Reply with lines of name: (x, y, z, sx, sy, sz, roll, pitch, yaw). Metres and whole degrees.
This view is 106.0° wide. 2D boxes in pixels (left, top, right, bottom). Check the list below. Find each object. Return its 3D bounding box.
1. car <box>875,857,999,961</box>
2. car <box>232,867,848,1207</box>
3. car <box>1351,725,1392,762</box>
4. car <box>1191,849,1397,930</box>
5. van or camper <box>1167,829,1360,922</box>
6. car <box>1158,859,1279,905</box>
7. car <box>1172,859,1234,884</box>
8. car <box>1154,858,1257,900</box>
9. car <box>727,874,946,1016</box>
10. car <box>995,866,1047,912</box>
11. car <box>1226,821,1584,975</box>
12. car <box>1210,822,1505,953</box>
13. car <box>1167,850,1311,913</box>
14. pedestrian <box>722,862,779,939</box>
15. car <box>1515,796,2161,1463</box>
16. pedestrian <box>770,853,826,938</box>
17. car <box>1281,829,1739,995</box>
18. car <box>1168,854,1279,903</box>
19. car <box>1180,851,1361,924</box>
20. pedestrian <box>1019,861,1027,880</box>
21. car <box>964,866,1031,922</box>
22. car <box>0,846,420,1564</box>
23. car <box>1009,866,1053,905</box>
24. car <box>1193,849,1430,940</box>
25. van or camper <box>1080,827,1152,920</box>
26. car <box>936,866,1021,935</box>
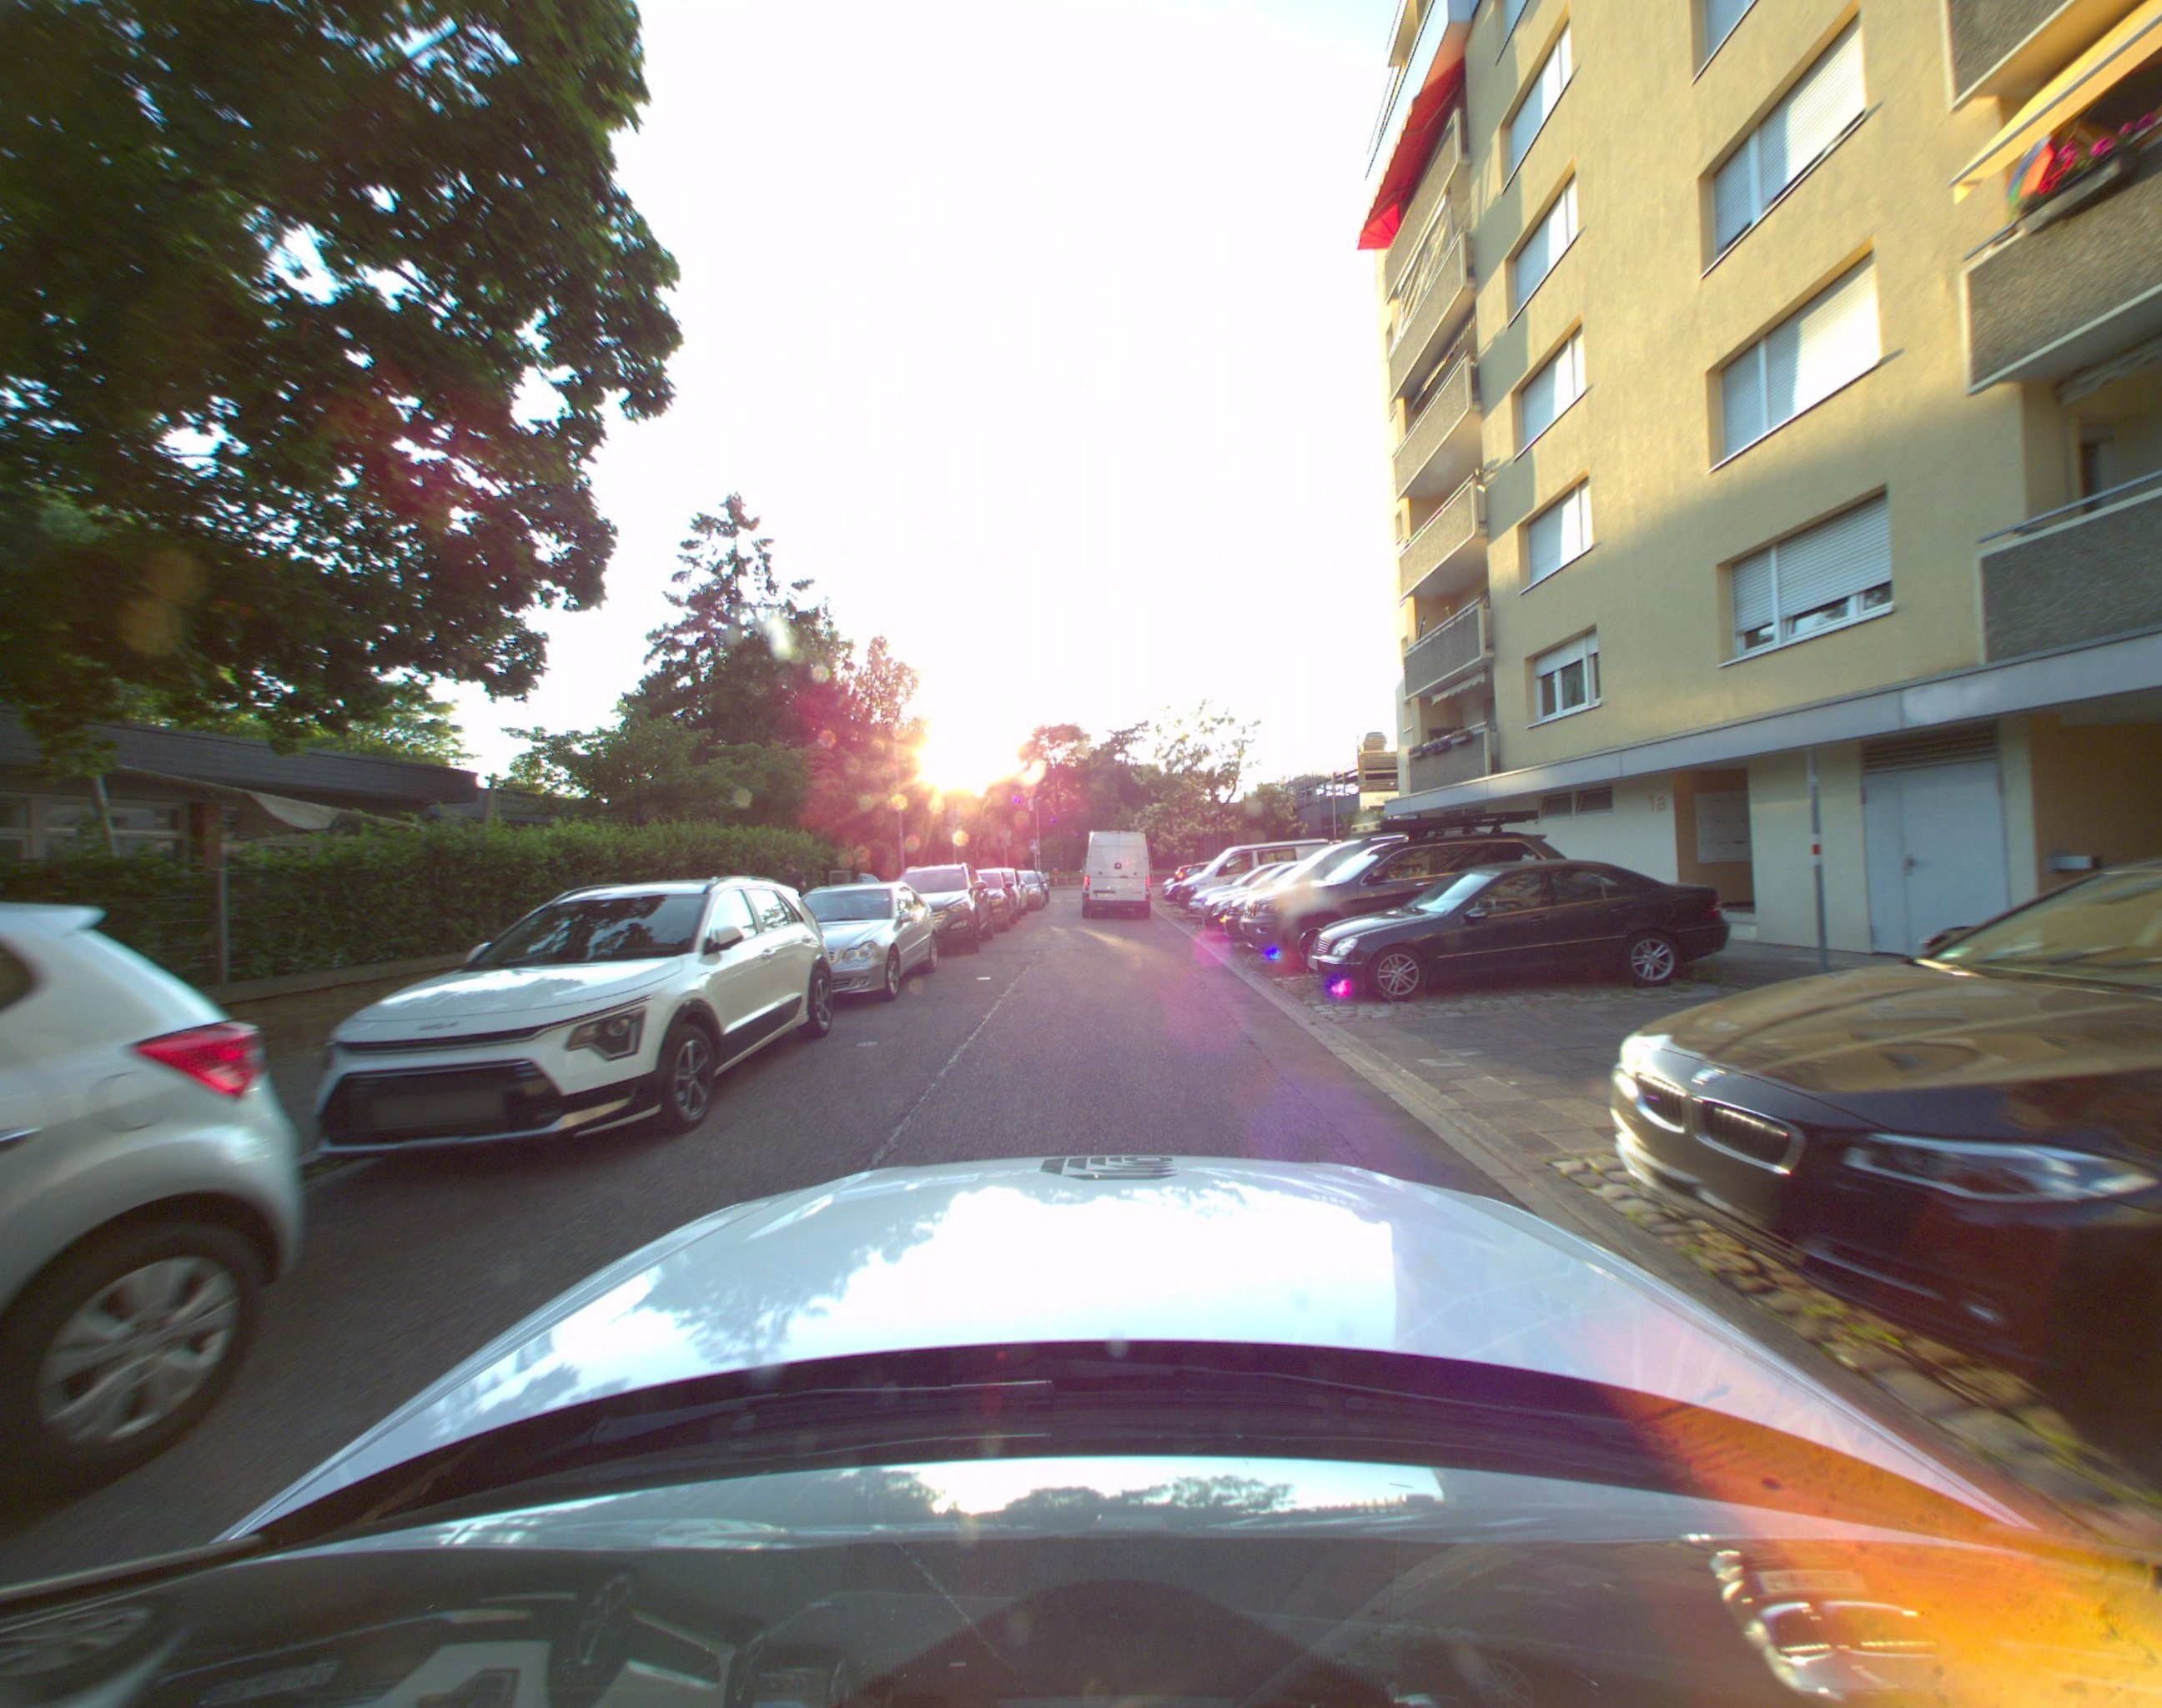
car: (-2.748, 0.999, 16.505, 1.729, 1.730, 4.320, -3, -1, -1)
car: (-3.244, 0.913, 6.109, 1.754, 1.543, 4.278, -3, -1, -1)
car: (21.134, -8.036, 59.428, 1.983, 2.014, 4.007, -1, -1, 7)
car: (4.977, 0.854, 19.482, 4.388, 1.593, 1.845, -3, -3, 1)
van or camper: (5.286, 0.640, 24.134, 5.118, 2.167, 2.039, -5, -2, -1)
car: (5.346, 1.118, 32.152, 4.391, 1.531, 1.844, -3, -3, -1)
car: (8.215, 1.195, 55.072, 3.843, 1.574, 1.957, -1, -1, -1)
car: (5.681, 1.176, 37.469, 4.391, 1.631, 1.844, -3, -3, -1)
car: (-3.064, 1.062, 11.180, 1.729, 1.427, 4.284, -3, -1, -1)
car: (-2.257, 1.283, 31.394, 1.729, 1.567, 3.695, -3, -1, -1)
car: (4.583, 0.620, 12.061, 4.497, 1.863, 1.846, -3, -1, 1)
car: (4.822, 0.609, 14.745, 4.621, 1.981, 1.845, -3, -3, 1)
car: (5.165, 0.929, 26.992, 4.313, 1.661, 1.780, -5, -3, -1)
pedestrian: (-6.683, 0.927, 16.517, 0.745, 1.508, 0.901, 1, -1, 0)
car: (4.273, 0.592, 2.904, 4.389, 1.554, 1.845, -3, -3, 0)
pedestrian: (-5.976, 0.851, 17.204, 0.754, 1.732, 0.891, 2, -2, -44)
car: (4.814, 0.675, 9.704, 4.385, 1.554, 1.847, -3, -3, 3)
car: (6.044, 1.035, 34.910, 4.385, 1.631, 1.847, -6, -1, 3)
car: (4.995, 0.901, 21.934, 4.388, 1.631, 1.845, -3, -3, 1)
pedestrian: (-4.871, 1.387, 68.435, 0.644, 1.649, 0.674, 0, -1, 1)
car: (-2.629, 1.224, 26.496, 1.729, 1.567, 4.127, -3, -1, -1)
car: (-3.391, 0.833, 1.008, 1.727, 1.631, 3.982, -3, -1, 2)
car: (-2.221, 1.375, 36.945, 1.729, 1.567, 3.788, -3, -1, -1)
car: (4.686, 0.852, 17.043, 4.388, 1.563, 1.845, -3, -3, 1)
van or camper: (1.091, 0.600, 26.466, 1.986, 2.618, 6.404, -1, -1, 2)
car: (-2.616, 1.148, 21.589, 1.729, 1.567, 4.165, -3, -1, -1)
